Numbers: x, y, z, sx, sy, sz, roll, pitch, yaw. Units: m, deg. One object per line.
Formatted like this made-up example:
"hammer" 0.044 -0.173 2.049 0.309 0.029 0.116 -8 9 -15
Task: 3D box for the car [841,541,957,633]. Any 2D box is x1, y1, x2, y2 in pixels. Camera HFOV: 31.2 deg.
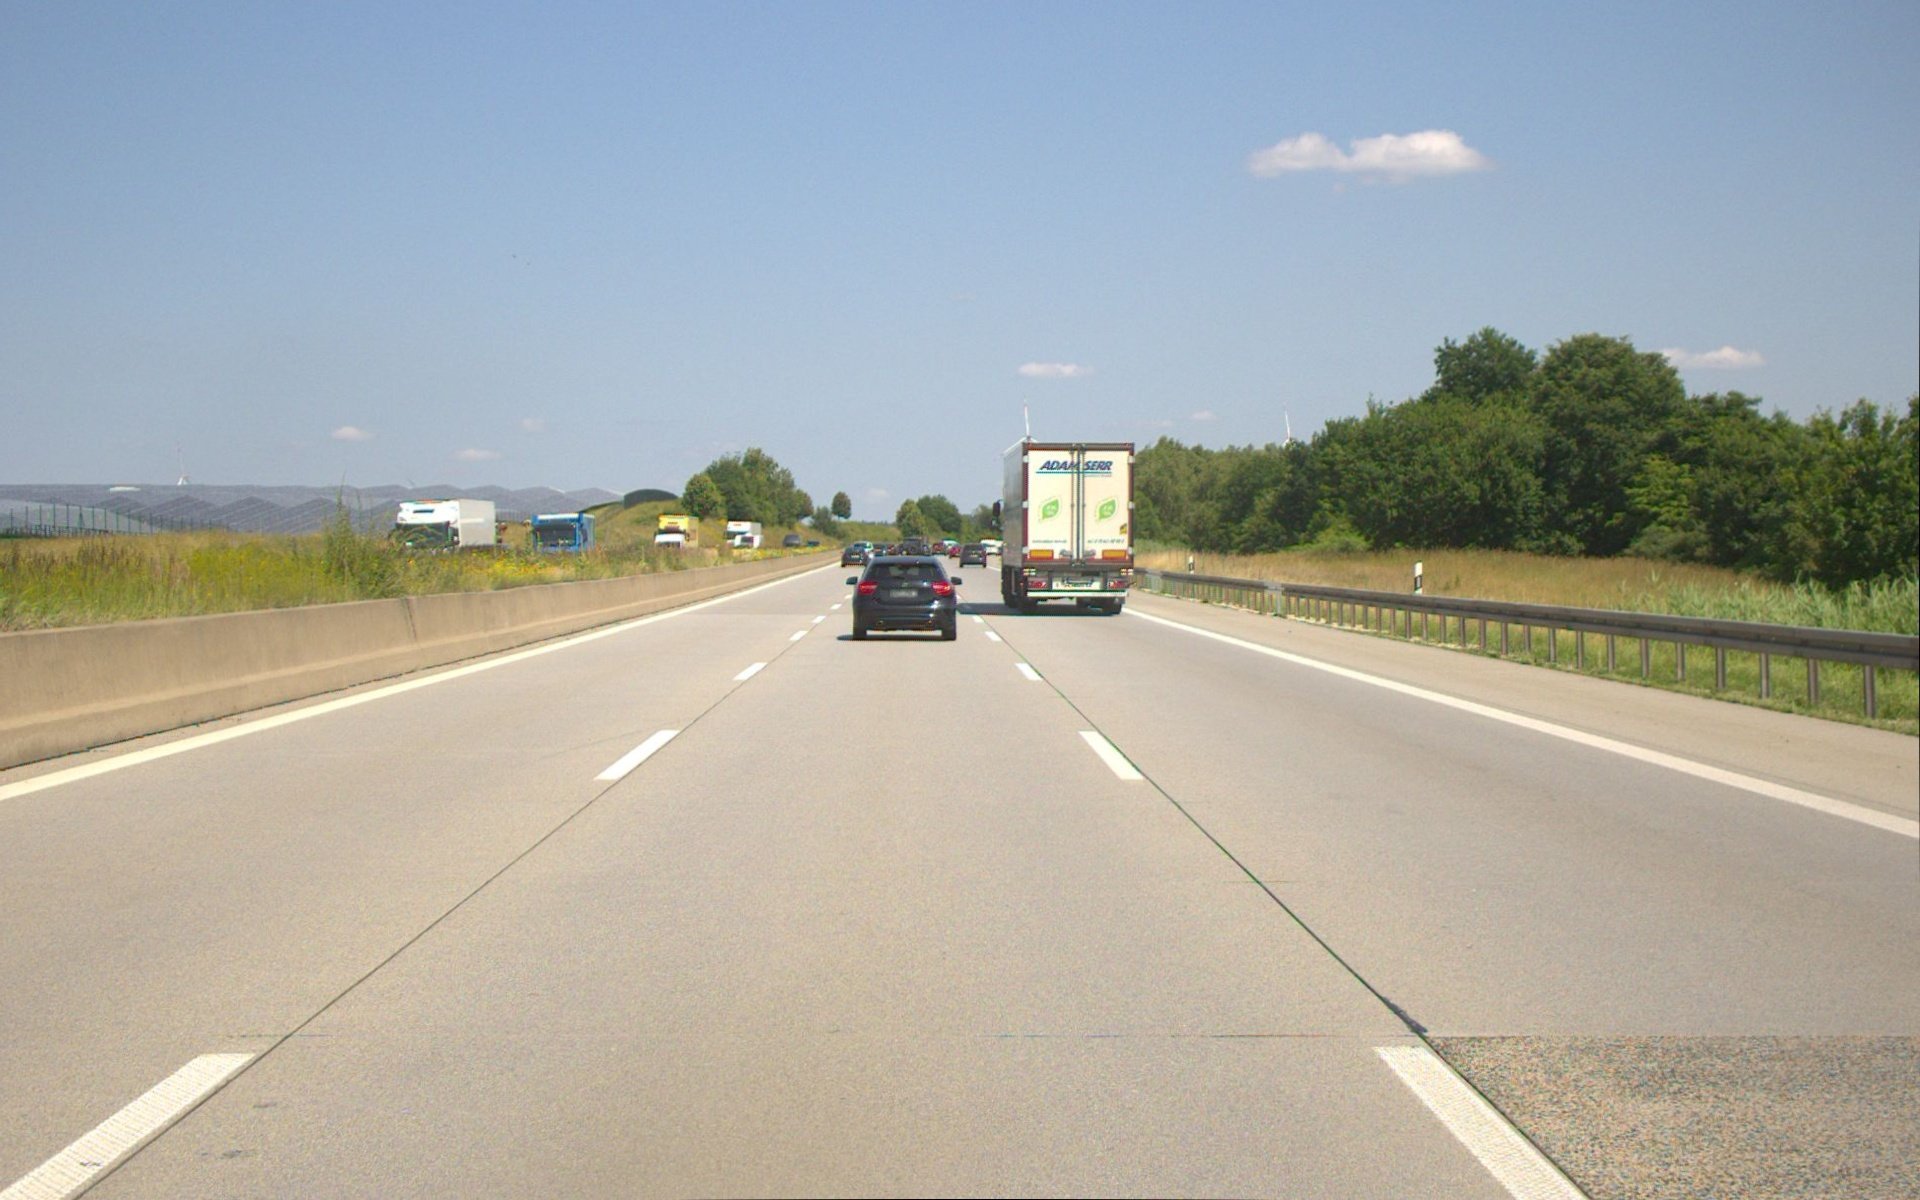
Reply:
"car" -1.058 -0.256 59.383 1.910 1.487 4.192 1 1 -1

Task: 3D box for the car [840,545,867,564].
"car" -7.134 -3.037 229.964 1.655 1.192 3.960 3 1 -1

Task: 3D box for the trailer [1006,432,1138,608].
"trailer" 2.665 -1.948 85.725 2.852 4.029 12.713 1 1 0

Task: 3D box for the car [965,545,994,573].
"car" 1.332 -2.783 234.349 1.827 1.900 4.000 0 1 -1

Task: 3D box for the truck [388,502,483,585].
"truck" -22.839 -2.427 150.093 3.122 3.475 6.885 1 0 0
